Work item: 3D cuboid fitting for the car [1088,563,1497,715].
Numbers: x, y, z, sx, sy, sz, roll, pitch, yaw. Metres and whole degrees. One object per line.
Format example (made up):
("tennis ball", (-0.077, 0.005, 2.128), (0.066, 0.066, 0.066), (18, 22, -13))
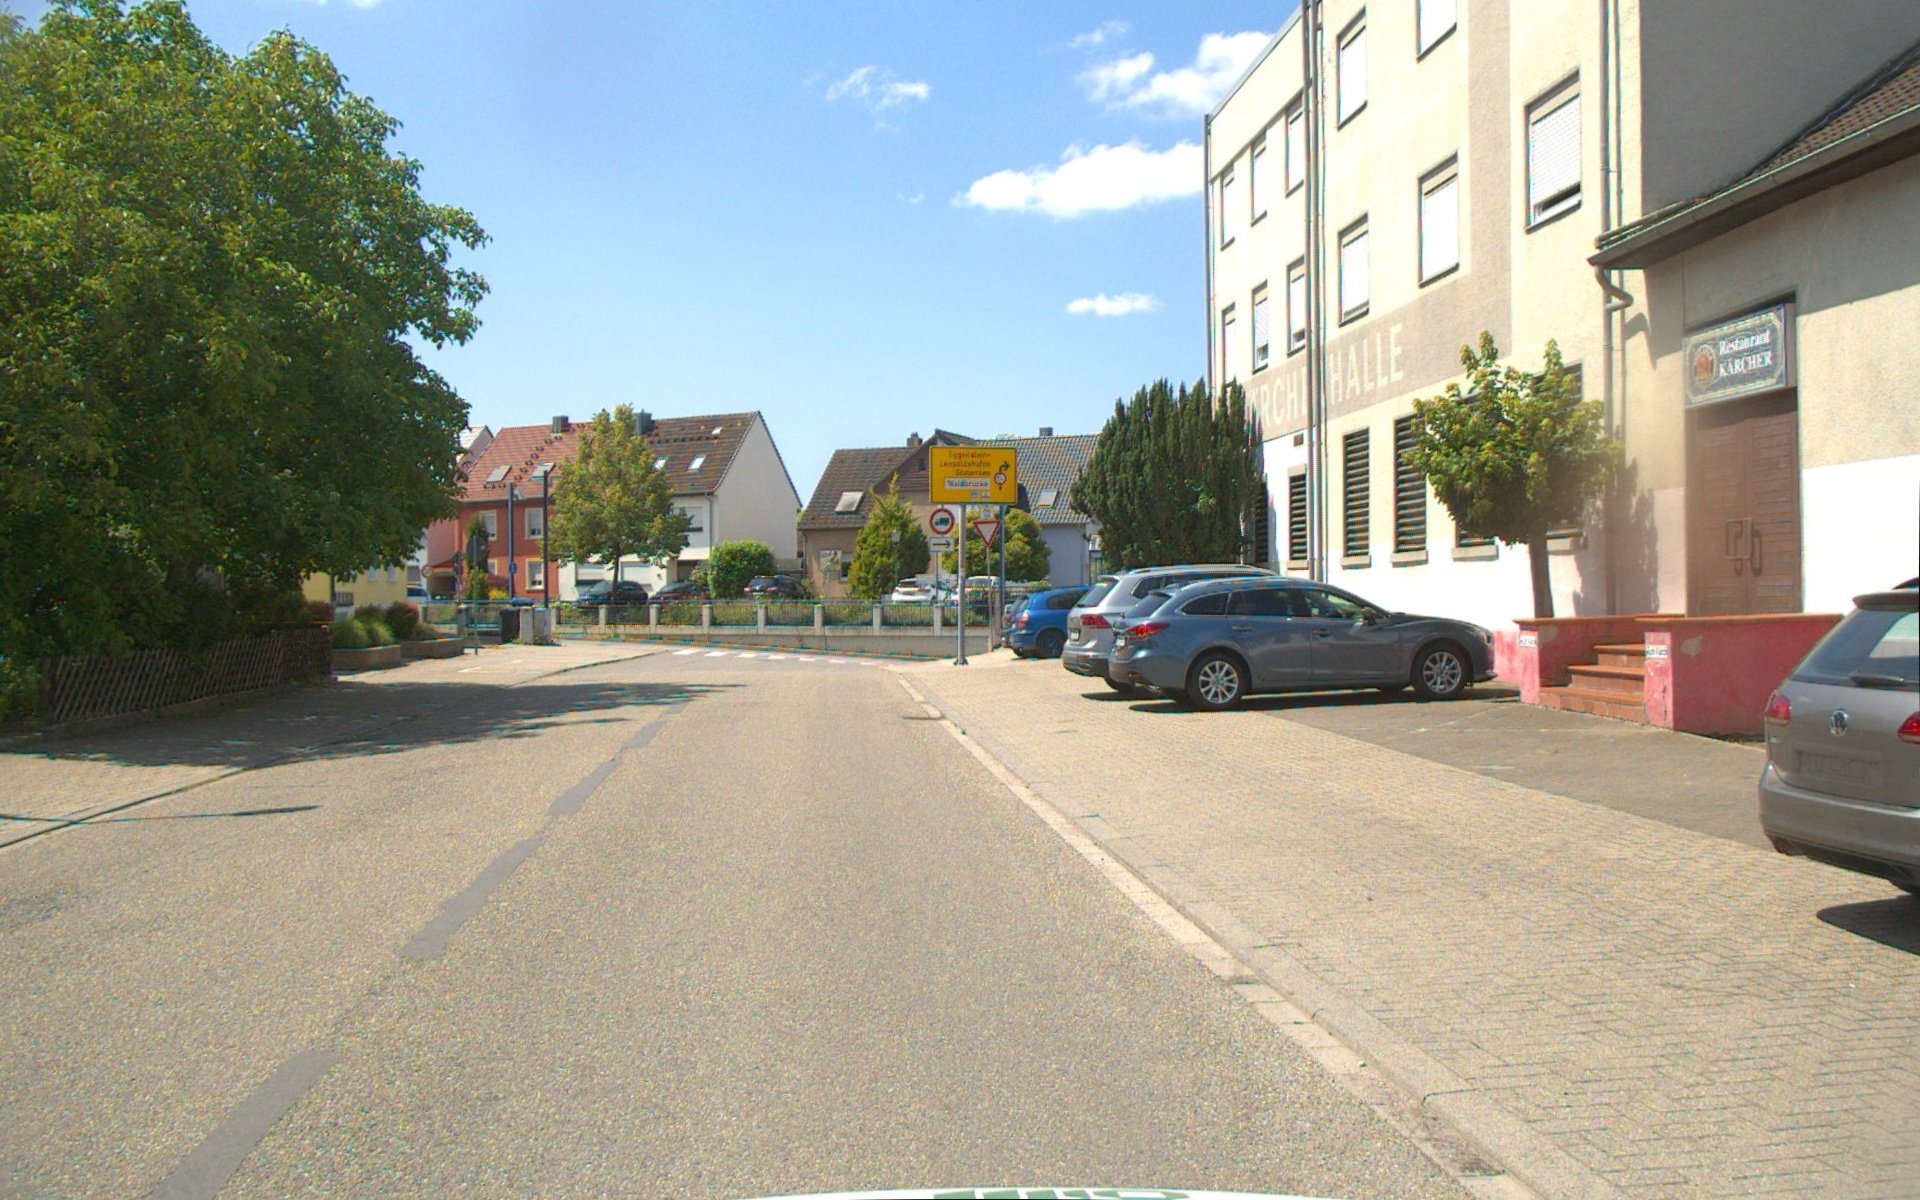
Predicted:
("car", (3.935, 0.430, 20.019), (4.415, 1.546, 1.997), (-2, 0, -7))

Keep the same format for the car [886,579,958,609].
("car", (-1.558, -0.242, 68.697), (1.788, 1.037, 3.459), (4, -1, 20))

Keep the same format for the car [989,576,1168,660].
("car", (2.754, 0.431, 38.922), (3.824, 1.515, 1.806), (-6, -1, -8))

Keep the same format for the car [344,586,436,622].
("car", (-28.397, 0.224, 82.517), (1.708, 1.514, 4.251), (3, -1, 27))

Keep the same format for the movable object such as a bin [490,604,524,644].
("movable object such as a bin", (-14.449, 0.763, 52.822), (0.867, 1.247, 0.901), (1, -1, -4))

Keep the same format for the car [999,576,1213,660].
("car", (3.107, 0.406, 35.678), (4.241, 1.464, 1.777), (-4, -2, -7))

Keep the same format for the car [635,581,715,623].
("car", (-12.578, 0.100, 73.133), (1.829, 1.614, 3.610), (4, -1, 20))

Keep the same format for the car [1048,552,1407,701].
("car", (3.534, 0.328, 22.259), (4.370, 1.726, 1.919), (-2, 0, -8))

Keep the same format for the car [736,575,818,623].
("car", (-7.905, -0.037, 71.643), (1.829, 1.828, 4.000), (4, -1, 20))

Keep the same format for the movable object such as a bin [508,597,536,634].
("movable object such as a bin", (-14.878, 0.510, 56.159), (0.827, 1.235, 1.270), (1, -1, -18))

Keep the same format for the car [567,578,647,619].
("car", (-15.931, -0.042, 74.797), (1.829, 1.614, 3.610), (4, -1, 20))

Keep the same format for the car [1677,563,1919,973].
("car", (5.627, 0.529, 6.908), (4.439, 1.479, 1.915), (-2, 0, -6))

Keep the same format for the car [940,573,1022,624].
("car", (0.895, -0.035, 67.861), (1.953, 1.828, 4.196), (4, -1, 20))
